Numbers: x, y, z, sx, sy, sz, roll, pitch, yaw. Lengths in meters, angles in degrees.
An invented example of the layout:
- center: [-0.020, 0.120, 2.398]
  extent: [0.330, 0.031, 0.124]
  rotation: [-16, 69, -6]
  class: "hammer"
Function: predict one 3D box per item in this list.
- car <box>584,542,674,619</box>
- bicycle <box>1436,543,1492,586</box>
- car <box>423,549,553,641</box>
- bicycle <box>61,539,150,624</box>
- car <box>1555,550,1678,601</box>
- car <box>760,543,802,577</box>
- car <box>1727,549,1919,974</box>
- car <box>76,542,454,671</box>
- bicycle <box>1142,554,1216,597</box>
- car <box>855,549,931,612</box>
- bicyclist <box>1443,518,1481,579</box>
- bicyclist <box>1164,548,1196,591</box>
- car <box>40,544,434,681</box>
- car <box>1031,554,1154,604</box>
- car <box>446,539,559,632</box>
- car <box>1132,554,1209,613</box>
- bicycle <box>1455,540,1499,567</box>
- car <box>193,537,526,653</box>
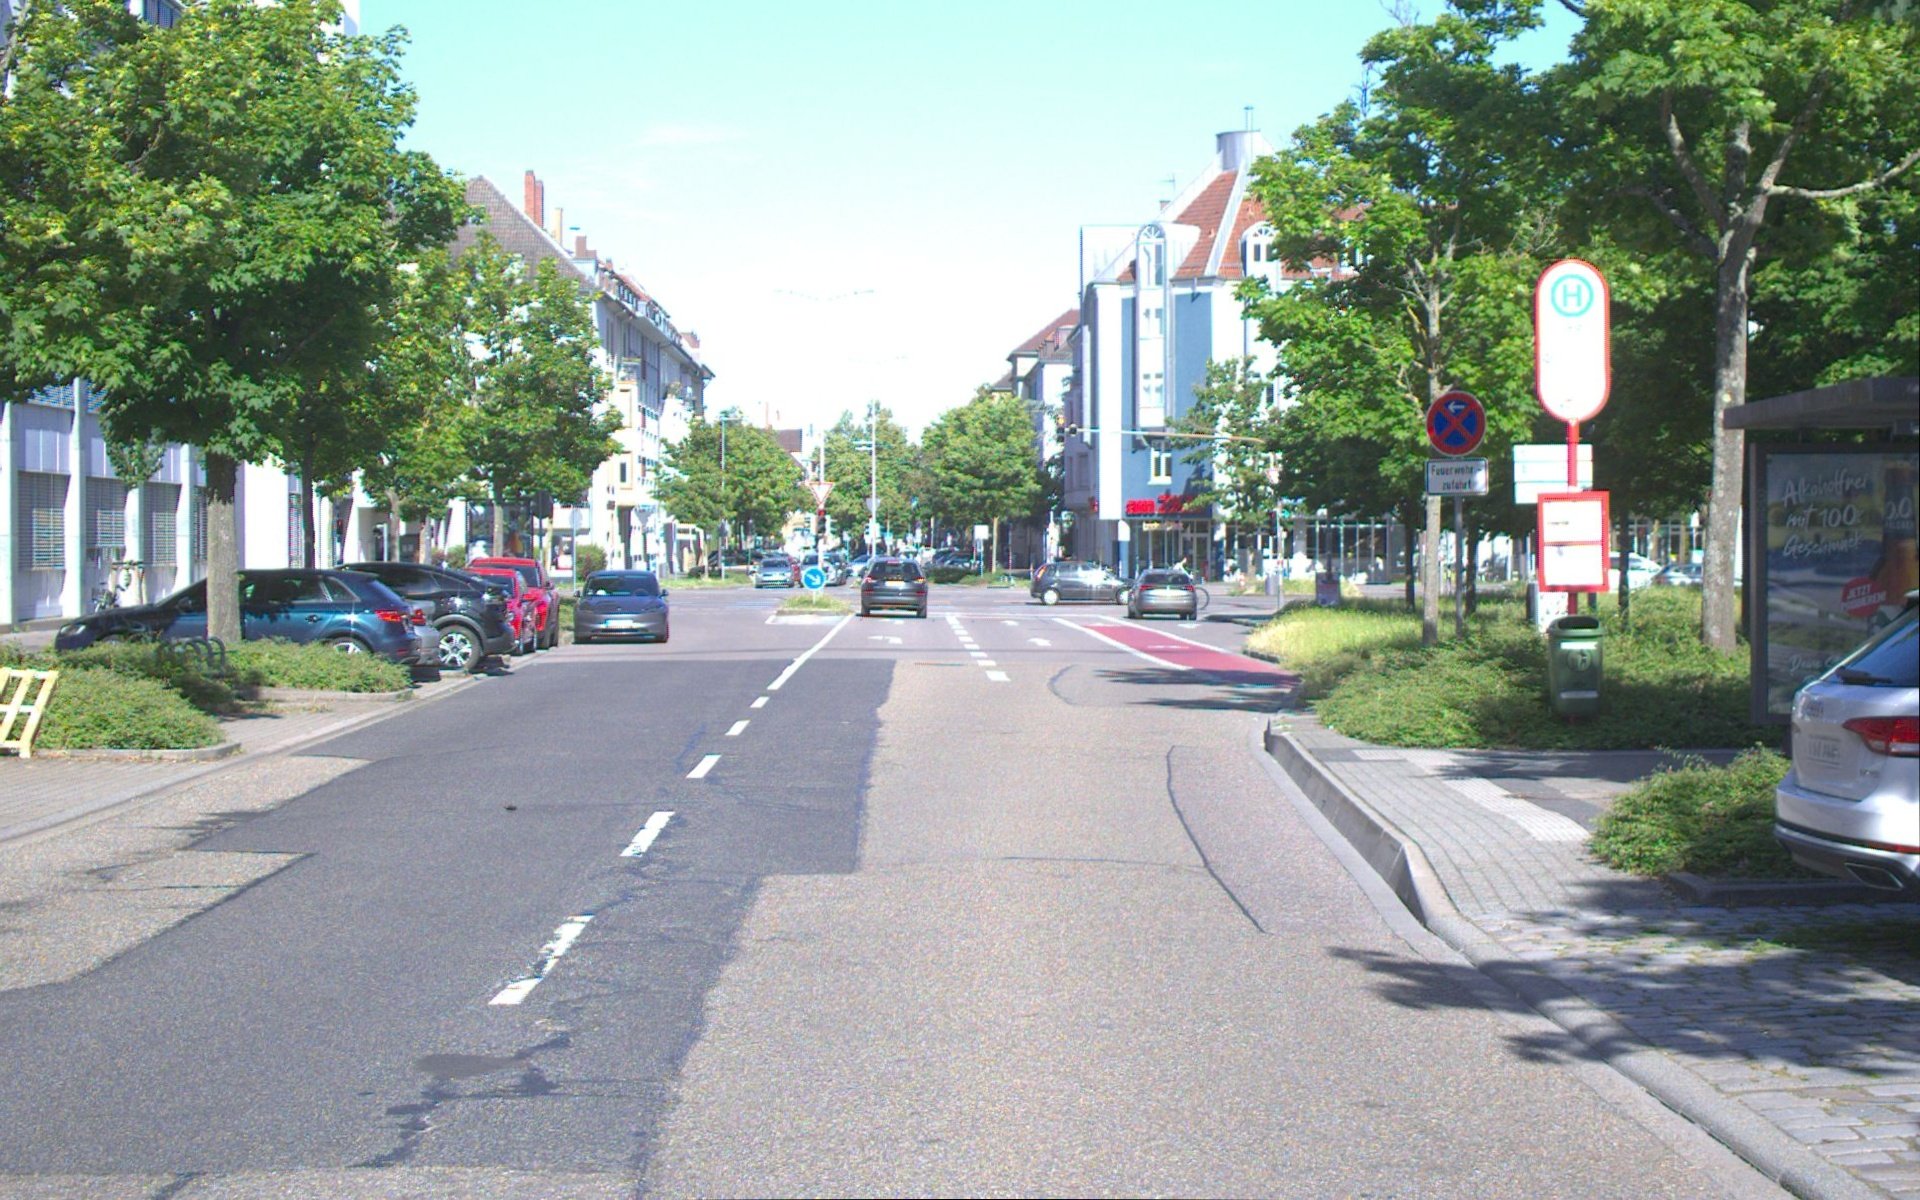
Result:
- center: [-6.657, -0.418, 69.416]
  extent: [1.688, 1.463, 4.548]
  rotation: [-1, 1, -4]
  class: "car"
- center: [16.233, -1.156, 110.703]
  extent: [0.792, 1.343, 2.258]
  rotation: [0, 1, 37]
  class: "bicycle"
- center: [-7.999, -0.110, 58.552]
  extent: [1.688, 1.427, 3.872]
  rotation: [2, 1, -1]
  class: "car"
- center: [-13.926, -0.308, 56.093]
  extent: [0.709, 1.342, 2.232]
  rotation: [-1, 1, 4]
  class: "bicycle"
- center: [22.251, -0.840, 116.685]
  extent: [3.859, 1.572, 1.693]
  rotation: [2, 1, 4]
  class: "car"
- center: [-8.549, -1.907, 164.568]
  extent: [1.754, 1.550, 3.731]
  rotation: [2, 1, 0]
  class: "car"
- center: [5.306, 0.517, 12.903]
  extent: [4.402, 1.458, 1.895]
  rotation: [-1, 1, -1]
  class: "car"
- center: [-8.760, 0.064, 43.549]
  extent: [4.385, 1.427, 1.694]
  rotation: [2, 1, 1]
  class: "car"
- center: [6.946, -0.785, 109.063]
  extent: [2.259, 1.343, 0.791]
  rotation: [0, 1, 34]
  class: "bicycle"
- center: [-1.888, -0.556, 95.425]
  extent: [1.753, 1.622, 4.479]
  rotation: [2, 1, -5]
  class: "car"
- center: [16.146, -1.646, 110.546]
  extent: [0.792, 1.952, 1.009]
  rotation: [0, 1, 37]
  class: "bicyclist"
- center: [6.968, -0.961, 109.055]
  extent: [0.703, 1.343, 0.791]
  rotation: [0, 1, 34]
  class: "bicyclist"
- center: [-8.584, 0.140, 41.095]
  extent: [4.384, 1.427, 1.694]
  rotation: [2, 1, -4]
  class: "car"
- center: [4.390, -0.700, 114.280]
  extent: [3.950, 1.594, 1.676]
  rotation: [-1, 1, -3]
  class: "car"
- center: [-8.451, -0.301, 63.768]
  extent: [1.688, 1.601, 4.311]
  rotation: [2, 1, -3]
  class: "car"
- center: [6.089, -0.494, 99.858]
  extent: [1.688, 1.572, 3.872]
  rotation: [2, 1, -4]
  class: "car"
- center: [23.136, -2.099, 153.958]
  extent: [1.863, 1.178, 0.562]
  rotation: [0, 1, -5]
  class: "bicycle"
- center: [-8.340, -0.082, 48.010]
  extent: [4.384, 1.427, 1.694]
  rotation: [2, 1, -4]
  class: "car"
